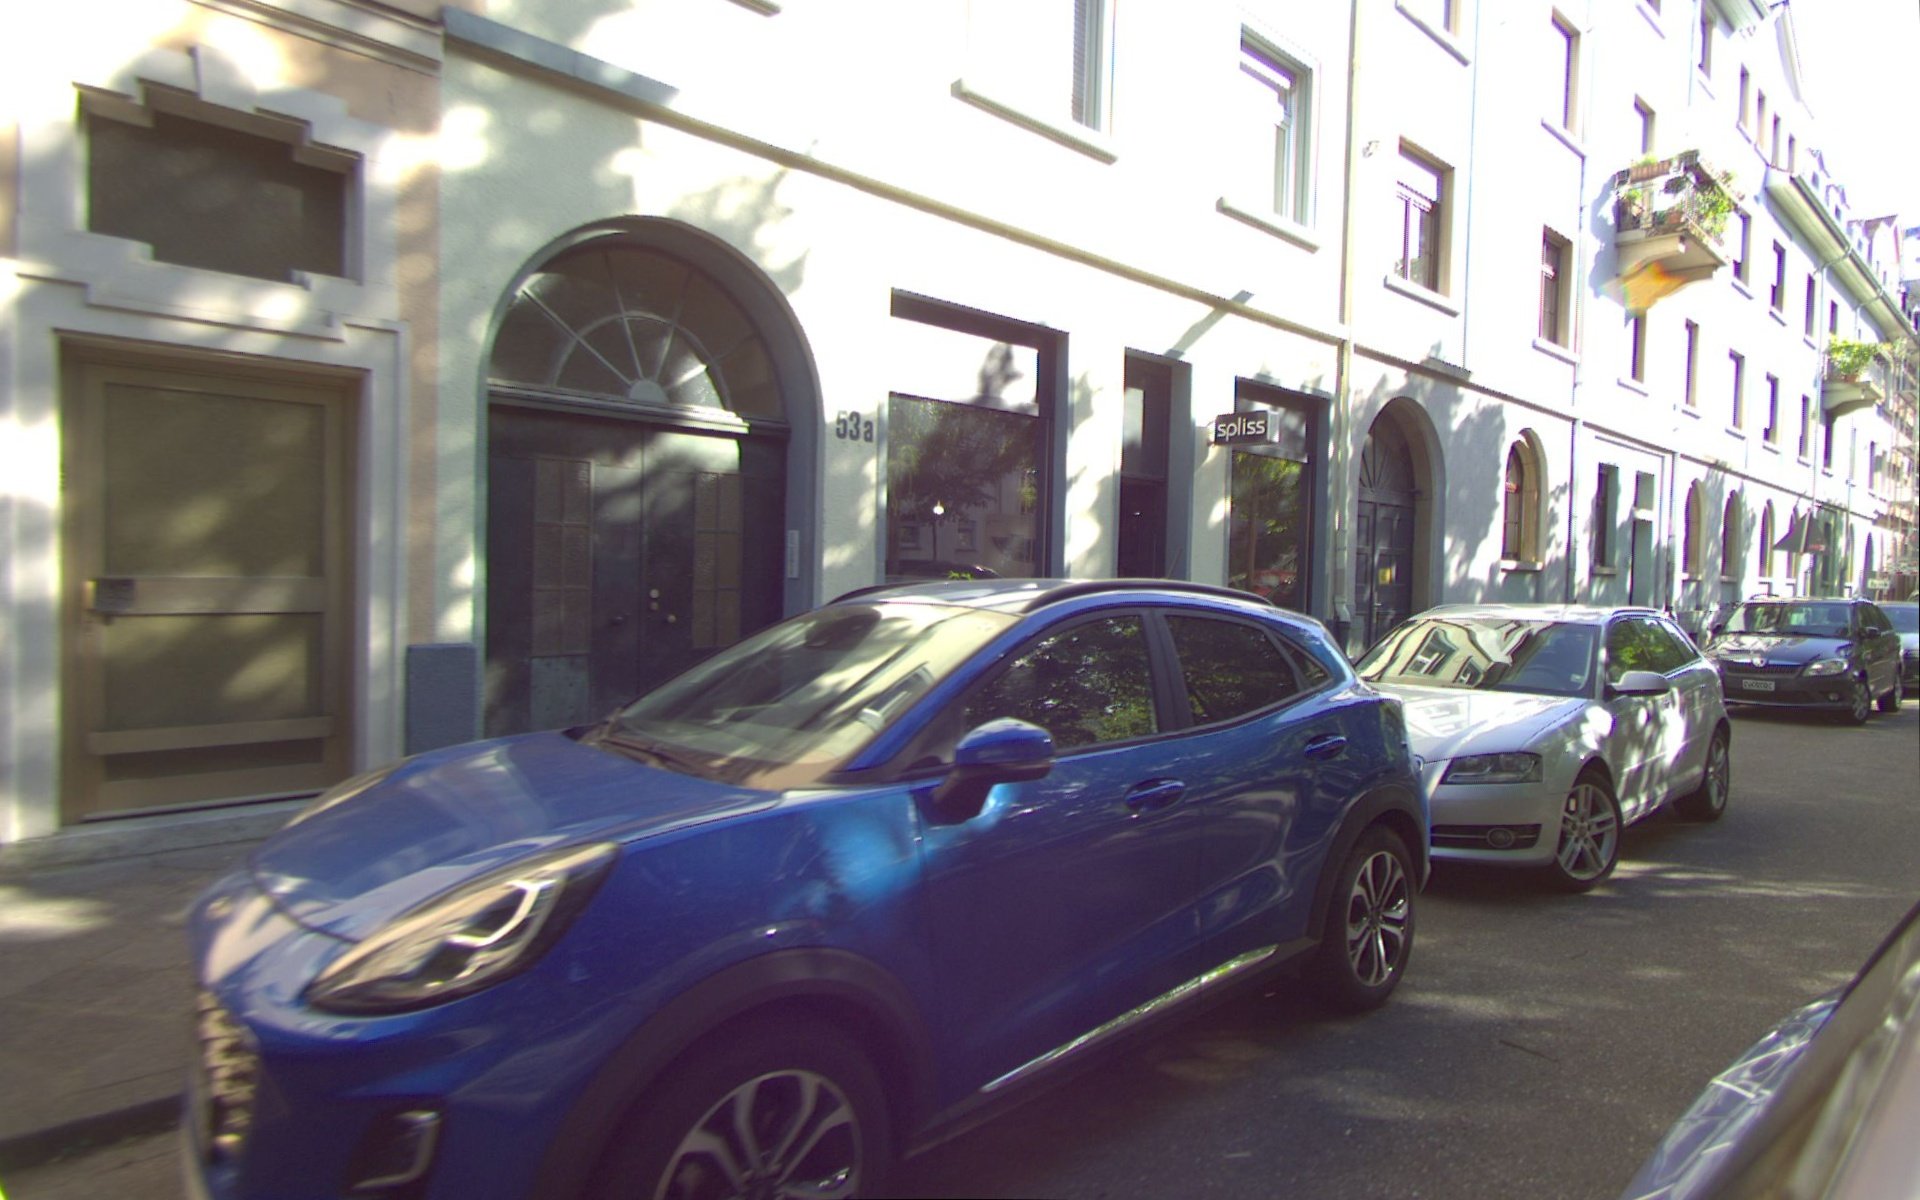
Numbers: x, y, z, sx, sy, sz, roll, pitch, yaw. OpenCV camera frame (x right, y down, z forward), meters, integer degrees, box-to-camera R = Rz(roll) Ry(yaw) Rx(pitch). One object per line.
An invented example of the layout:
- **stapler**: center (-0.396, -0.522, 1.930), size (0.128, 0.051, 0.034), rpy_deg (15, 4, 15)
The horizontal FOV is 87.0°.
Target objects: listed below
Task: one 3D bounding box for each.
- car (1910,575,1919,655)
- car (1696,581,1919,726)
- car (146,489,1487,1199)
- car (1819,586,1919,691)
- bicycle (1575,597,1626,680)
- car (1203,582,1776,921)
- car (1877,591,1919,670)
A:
- **car**: center (23.641, 0.382, 23.584), size (3.921, 1.816, 1.775), rpy_deg (0, 3, -42)
- **car**: center (11.060, 0.580, 13.039), size (3.969, 1.570, 1.584), rpy_deg (0, 1, -39)
- **car**: center (-0.019, 0.633, 3.350), size (4.110, 1.571, 1.770), rpy_deg (0, 0, -41)
- **car**: center (15.449, 0.574, 16.527), size (3.898, 1.511, 1.602), rpy_deg (0, 3, -42)
- **bicycle**: center (9.939, 0.560, 15.678), size (0.406, 1.201, 1.821), rpy_deg (2, 1, 40)
- **car**: center (3.574, 0.652, 6.463), size (4.215, 1.449, 1.773), rpy_deg (0, 1, -40)
- **car**: center (19.634, 0.584, 20.085), size (4.489, 1.437, 1.610), rpy_deg (0, 3, -42)
